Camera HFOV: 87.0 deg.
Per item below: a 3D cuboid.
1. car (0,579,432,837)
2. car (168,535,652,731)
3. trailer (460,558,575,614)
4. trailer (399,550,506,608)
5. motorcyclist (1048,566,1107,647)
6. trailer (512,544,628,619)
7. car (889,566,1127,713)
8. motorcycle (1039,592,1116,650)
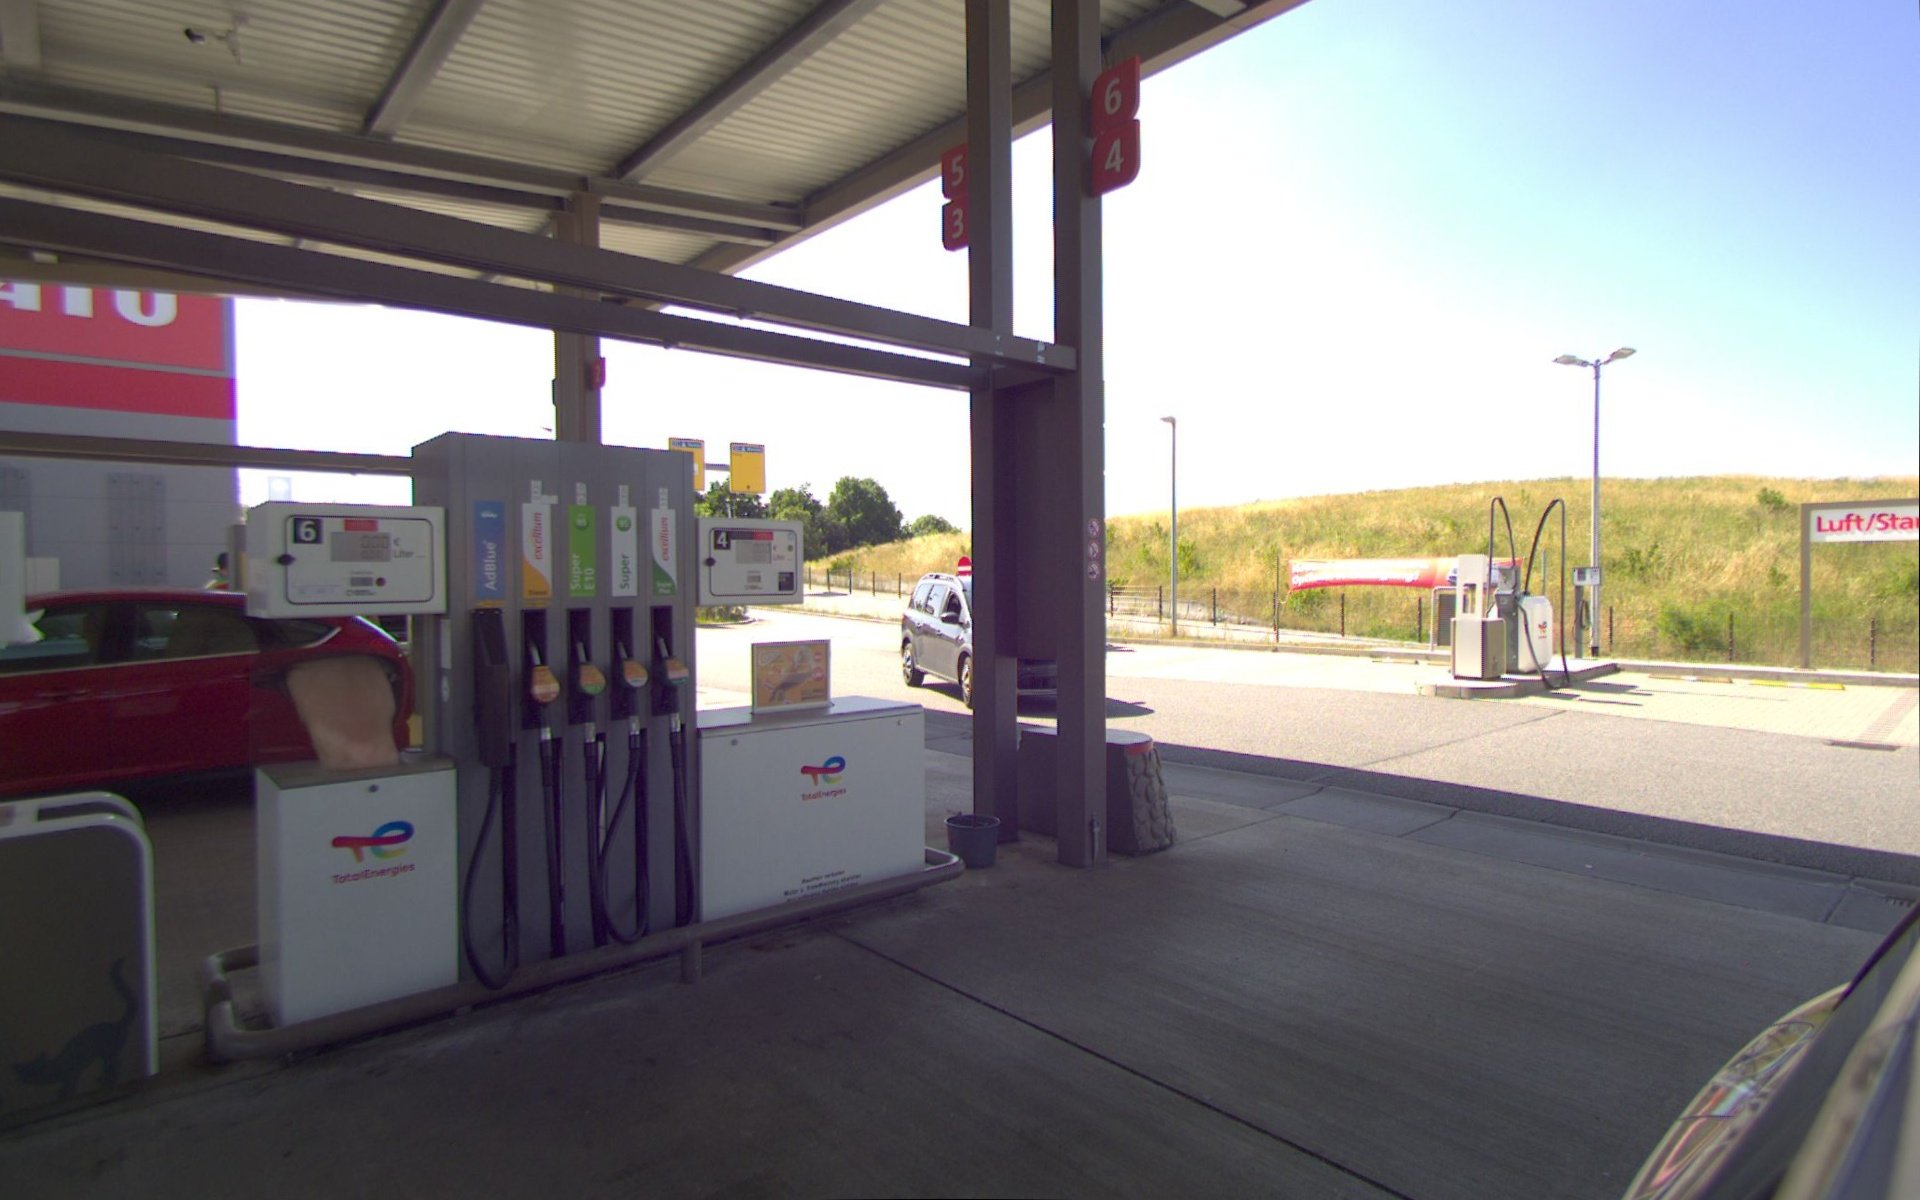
[{"bbox_3d":[-5.938,0.606,6.594,4.160,1.487,1.701,-1,1,-42],"label":"car"},{"bbox_3d":[-6.339,0.302,12.019,4.715,1.874,2.031,0,1,-42],"label":"car"},{"bbox_3d":[-17.024,-0.558,39.142,1.783,2.039,3.968,0,1,24],"label":"trailer"},{"bbox_3d":[-22.443,-0.944,44.905,1.976,2.457,3.973,1,1,21],"label":"trailer"},{"bbox_3d":[2.576,0.122,22.166,1.023,1.709,1.090,0,1,24],"label":"motorcyclist"},{"bbox_3d":[-13.391,-0.652,35.046,1.968,2.457,3.988,0,1,11],"label":"trailer"},{"bbox_3d":[0.435,0.401,13.962,1.707,1.665,4.642,0,1,-18],"label":"car"},{"bbox_3d":[2.615,0.428,22.237,1.034,1.119,2.397,1,2,24],"label":"motorcycle"}]
